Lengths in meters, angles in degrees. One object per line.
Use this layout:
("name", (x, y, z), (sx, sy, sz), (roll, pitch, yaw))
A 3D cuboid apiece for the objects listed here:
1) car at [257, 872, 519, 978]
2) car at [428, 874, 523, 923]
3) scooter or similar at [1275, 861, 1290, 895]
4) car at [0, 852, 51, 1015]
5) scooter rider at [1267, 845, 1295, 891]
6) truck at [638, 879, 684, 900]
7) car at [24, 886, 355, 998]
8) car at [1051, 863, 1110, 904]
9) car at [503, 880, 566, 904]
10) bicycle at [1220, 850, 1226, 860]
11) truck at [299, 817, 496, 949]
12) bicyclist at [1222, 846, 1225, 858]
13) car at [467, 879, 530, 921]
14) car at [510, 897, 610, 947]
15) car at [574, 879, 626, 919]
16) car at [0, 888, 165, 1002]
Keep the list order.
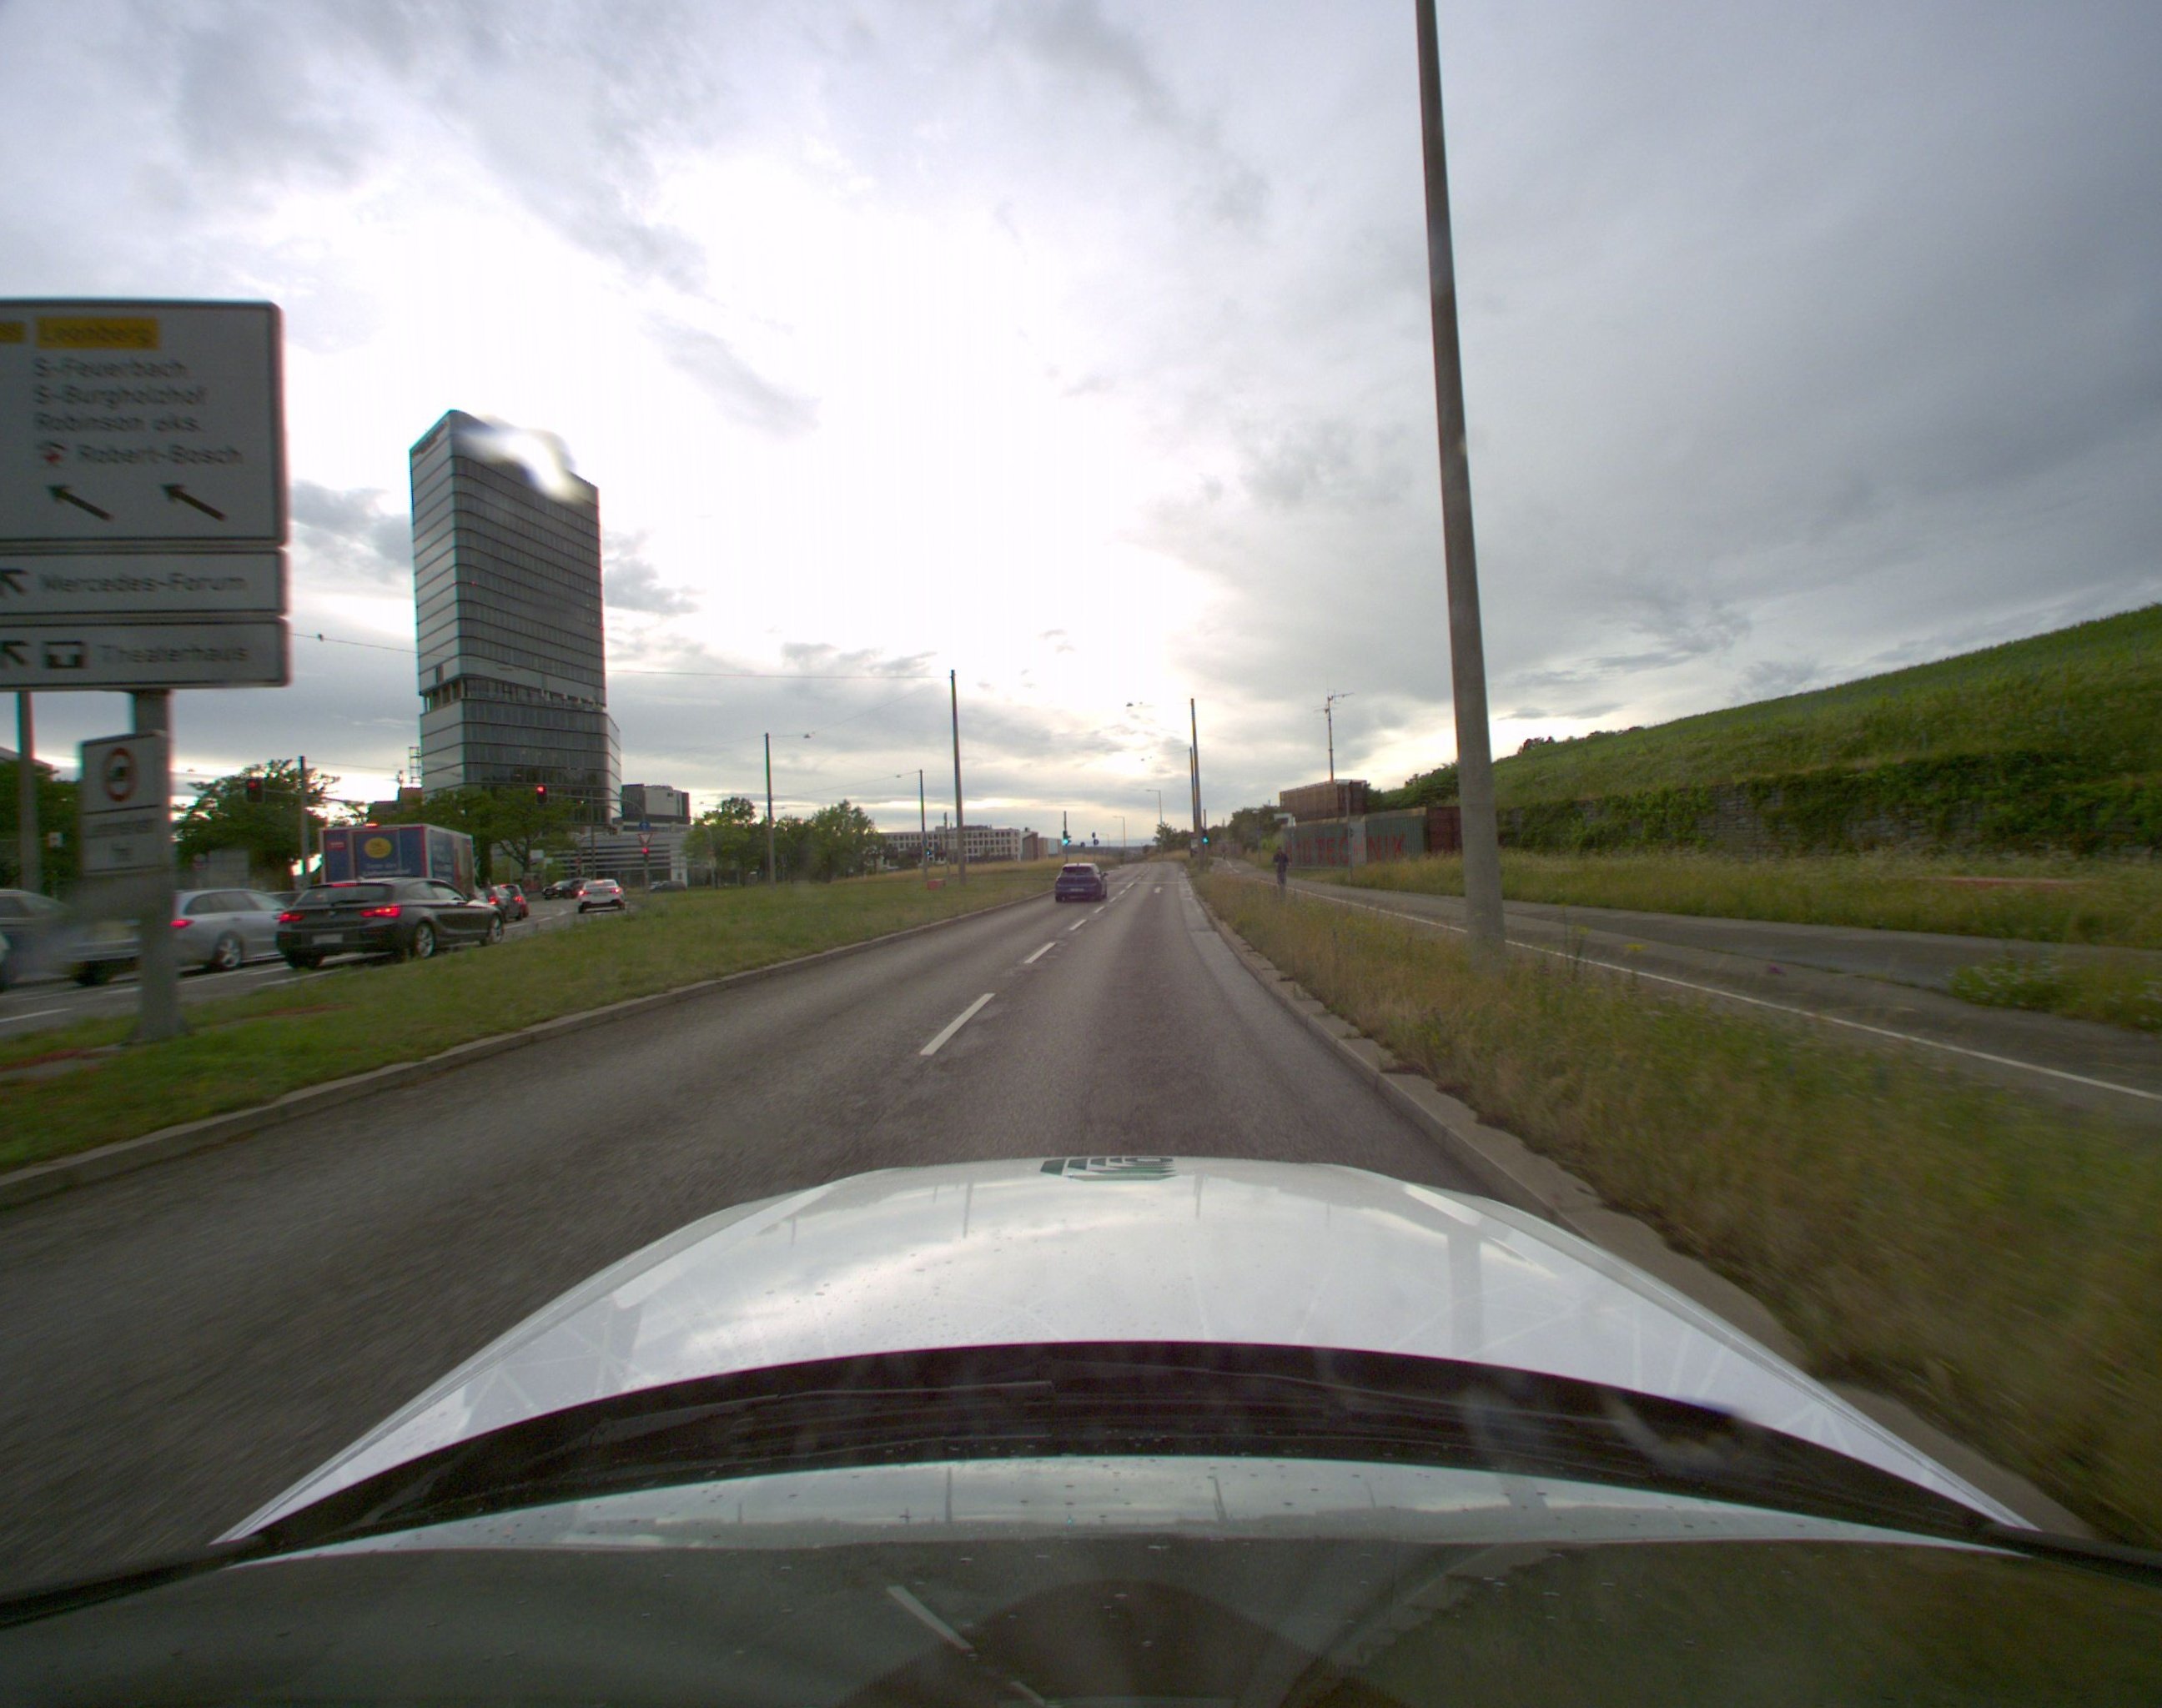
("car", (-12.042, 1.133, 14.561), (1.871, 1.461, 3.959), (-2, 0, -13))
("car", (-22.316, 1.579, 30.168), (2.003, 1.566, 3.967), (-1, 0, -25))
("scooter or similar", (7.396, 0.863, 29.933), (0.399, 1.196, 1.116), (0, 0, 5))
("car", (-13.523, 0.981, 7.729), (1.908, 1.973, 5.066), (-3, 0, -15))
("scooter rider", (7.396, 0.522, 30.093), (0.802, 1.628, 0.829), (-3, -1, 5))
("truck", (-45.865, 3.881, 88.956), (4.022, 2.014, 1.976), (-2, -1, -42))
("car", (-15.468, 1.402, 14.578), (1.842, 1.435, 4.495), (-4, 0, -16))
("car", (0.044, 1.102, 32.119), (1.828, 1.393, 4.007), (-1, 0, 6))
("car", (-41.690, 2.892, 62.216), (1.729, 1.618, 3.754), (-1, 1, 13))
("bicycle", (14.617, 0.087, 83.593), (0.548, 1.068, 0.616), (-1, 0, 8))
("truck", (-19.233, 0.715, 23.425), (2.679, 3.220, 6.495), (-1, 0, -25))
("bicyclist", (14.586, -0.222, 83.636), (0.264, 1.196, 0.316), (-1, 0, 8))
("car", (-25.400, 1.997, 35.643), (1.825, 1.623, 3.961), (-2, -2, -30))
("car", (-25.540, 3.278, 40.074), (4.012, 2.013, 1.872), (-1, 2, -30))
("car", (-22.000, 2.057, 37.395), (1.931, 1.643, 4.349), (-2, -2, -29))
("car", (-18.786, 1.529, 14.202), (1.842, 1.681, 4.049), (1, 0, -17))
